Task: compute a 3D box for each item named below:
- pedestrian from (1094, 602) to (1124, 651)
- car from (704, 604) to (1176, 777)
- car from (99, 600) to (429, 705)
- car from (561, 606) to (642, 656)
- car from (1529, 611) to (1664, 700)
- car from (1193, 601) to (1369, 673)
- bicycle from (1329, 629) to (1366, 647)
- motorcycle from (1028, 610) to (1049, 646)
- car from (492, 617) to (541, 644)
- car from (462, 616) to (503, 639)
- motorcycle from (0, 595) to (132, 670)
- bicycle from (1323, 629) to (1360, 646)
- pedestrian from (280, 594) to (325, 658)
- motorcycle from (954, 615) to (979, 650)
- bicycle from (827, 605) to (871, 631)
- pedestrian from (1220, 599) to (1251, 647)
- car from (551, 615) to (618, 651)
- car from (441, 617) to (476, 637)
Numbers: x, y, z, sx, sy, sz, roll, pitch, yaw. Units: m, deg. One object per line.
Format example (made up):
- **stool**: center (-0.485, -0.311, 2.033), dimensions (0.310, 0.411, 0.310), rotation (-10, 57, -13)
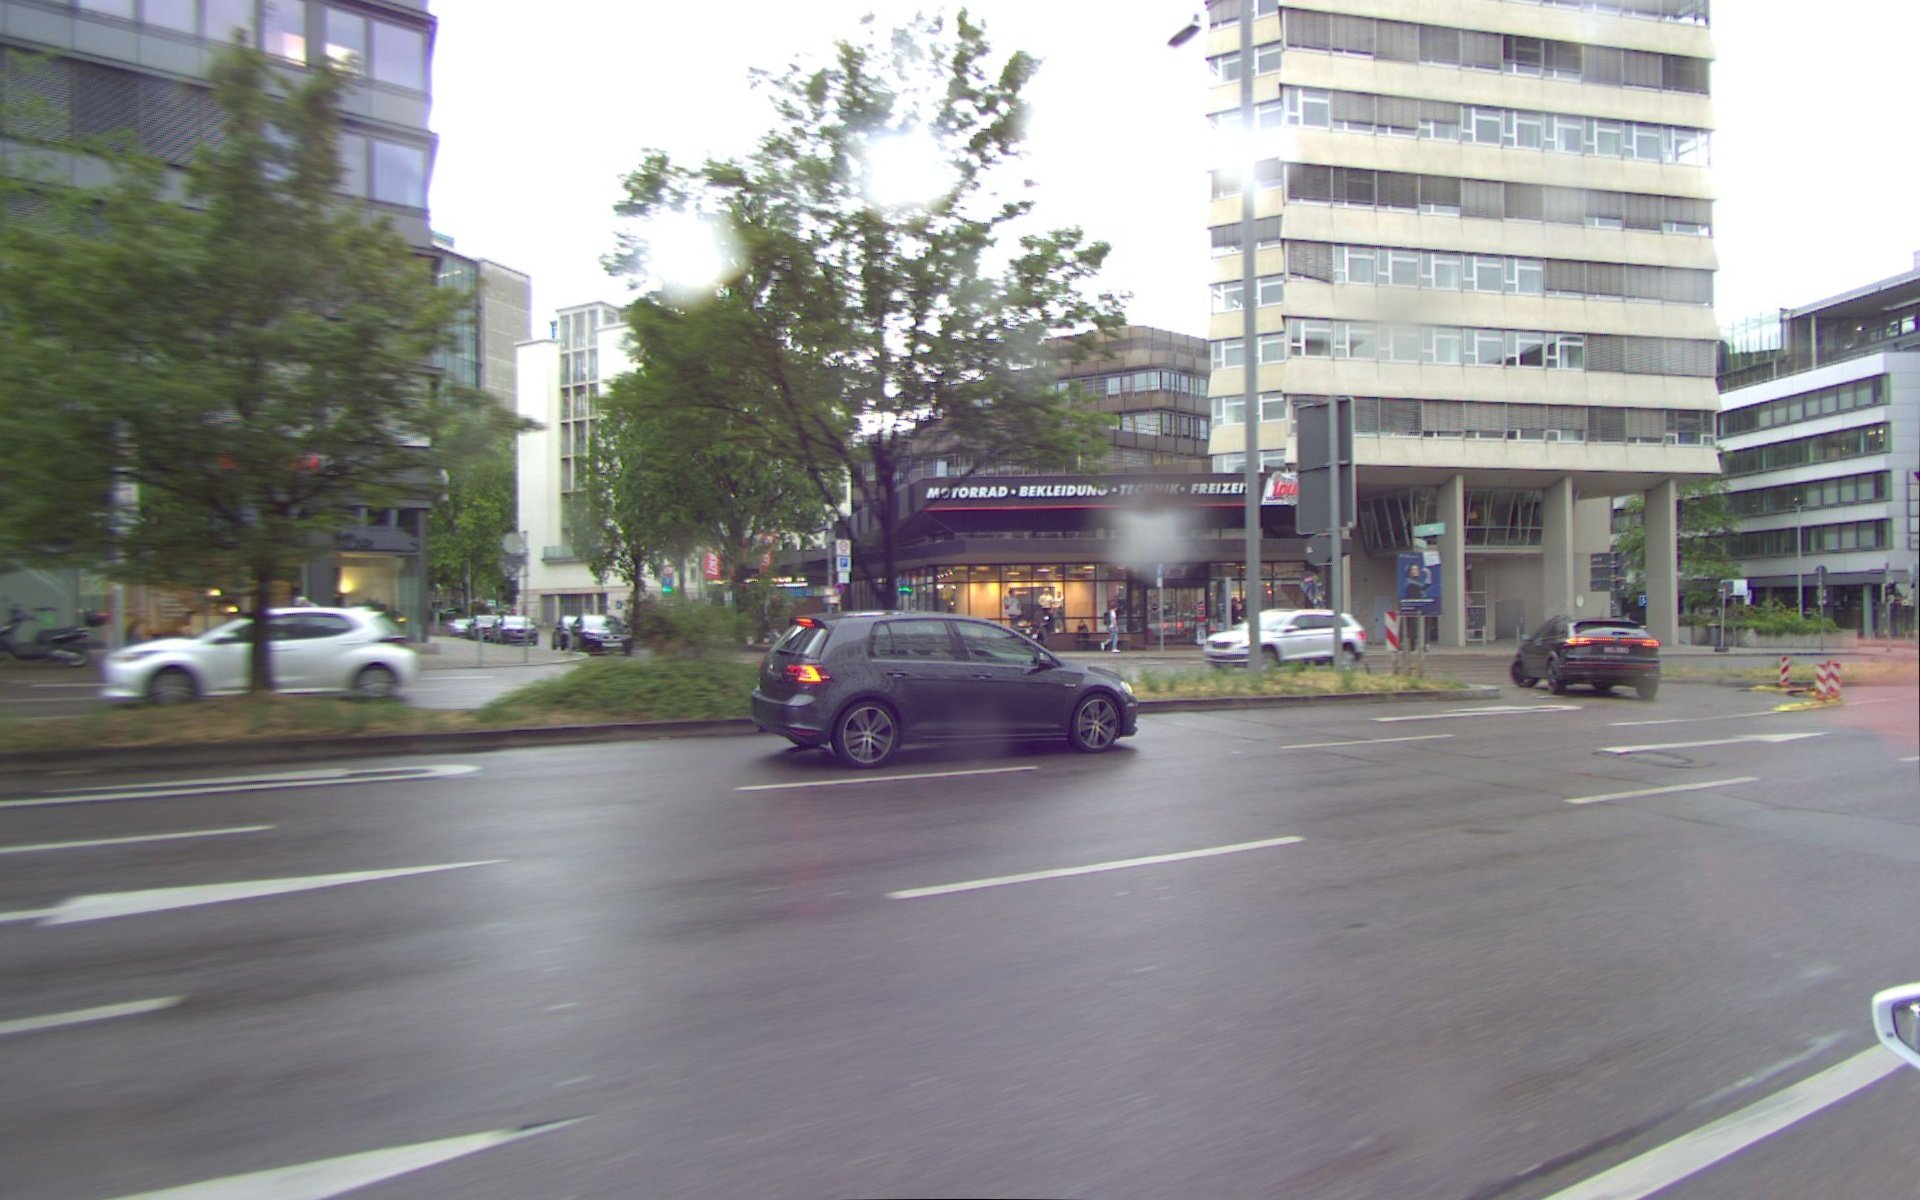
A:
- **pedestrian**: center (5.749, 1.006, 38.749), dimensions (0.908, 1.857, 0.818), rotation (1, 0, -12)
- **car**: center (-0.131, 0.800, 10.474), dimensions (4.631, 1.470, 1.831), rotation (1, -1, -29)
- **car**: center (-10.691, 0.758, 15.732), dimensions (4.041, 1.450, 1.672), rotation (1, 0, -34)
- **car**: center (-13.196, 1.116, 36.835), dimensions (1.978, 1.662, 3.965), rotation (1, 0, -32)
- **car**: center (12.617, 1.017, 20.166), dimensions (1.964, 1.564, 4.476), rotation (0, -1, 28)
- **car**: center (8.488, 0.953, 26.487), dimensions (4.433, 1.751, 1.732), rotation (1, 1, -25)
- **bicycle**: center (19.144, 1.865, 49.631), dimensions (1.742, 0.823, 0.454), rotation (1, 0, -10)
- **motorcycle**: center (3.207, 1.122, 40.974), dimensions (0.788, 1.392, 2.894), rotation (1, 0, 5)
- **car**: center (-23.650, 1.598, 53.488), dimensions (1.827, 1.305, 3.964), rotation (1, 0, -32)
- **car**: center (-29.882, 1.692, 62.800), dimensions (1.827, 1.305, 3.964), rotation (1, 0, -32)
- **motorcycle**: center (-18.579, 0.641, 20.533), dimensions (0.844, 1.412, 2.365), rotation (4, 1, 31)
- **bicycle**: center (19.050, 1.865, 50.214), dimensions (1.742, 0.823, 0.454), rotation (1, 0, -10)
- **pedestrian**: center (-17.391, 0.682, 26.588), dimensions (0.955, 1.659, 0.779), rotation (1, 0, -33)
- **motorcycle**: center (0.278, 1.325, 41.355), dimensions (0.709, 1.351, 2.822), rotation (1, 0, 6)
- **bicycle**: center (-5.985, 0.986, 54.145), dimensions (2.182, 1.345, 0.913), rotation (1, 0, -31)
- **pedestrian**: center (10.776, 0.906, 39.254), dimensions (0.909, 1.857, 0.728), rotation (1, 0, -12)
- **car**: center (-15.398, 1.325, 41.109), dimensions (1.826, 1.305, 3.966), rotation (1, 0, -31)
- **car**: center (-36.282, 1.907, 72.611), dimensions (1.827, 1.305, 3.964), rotation (1, 0, -32)
